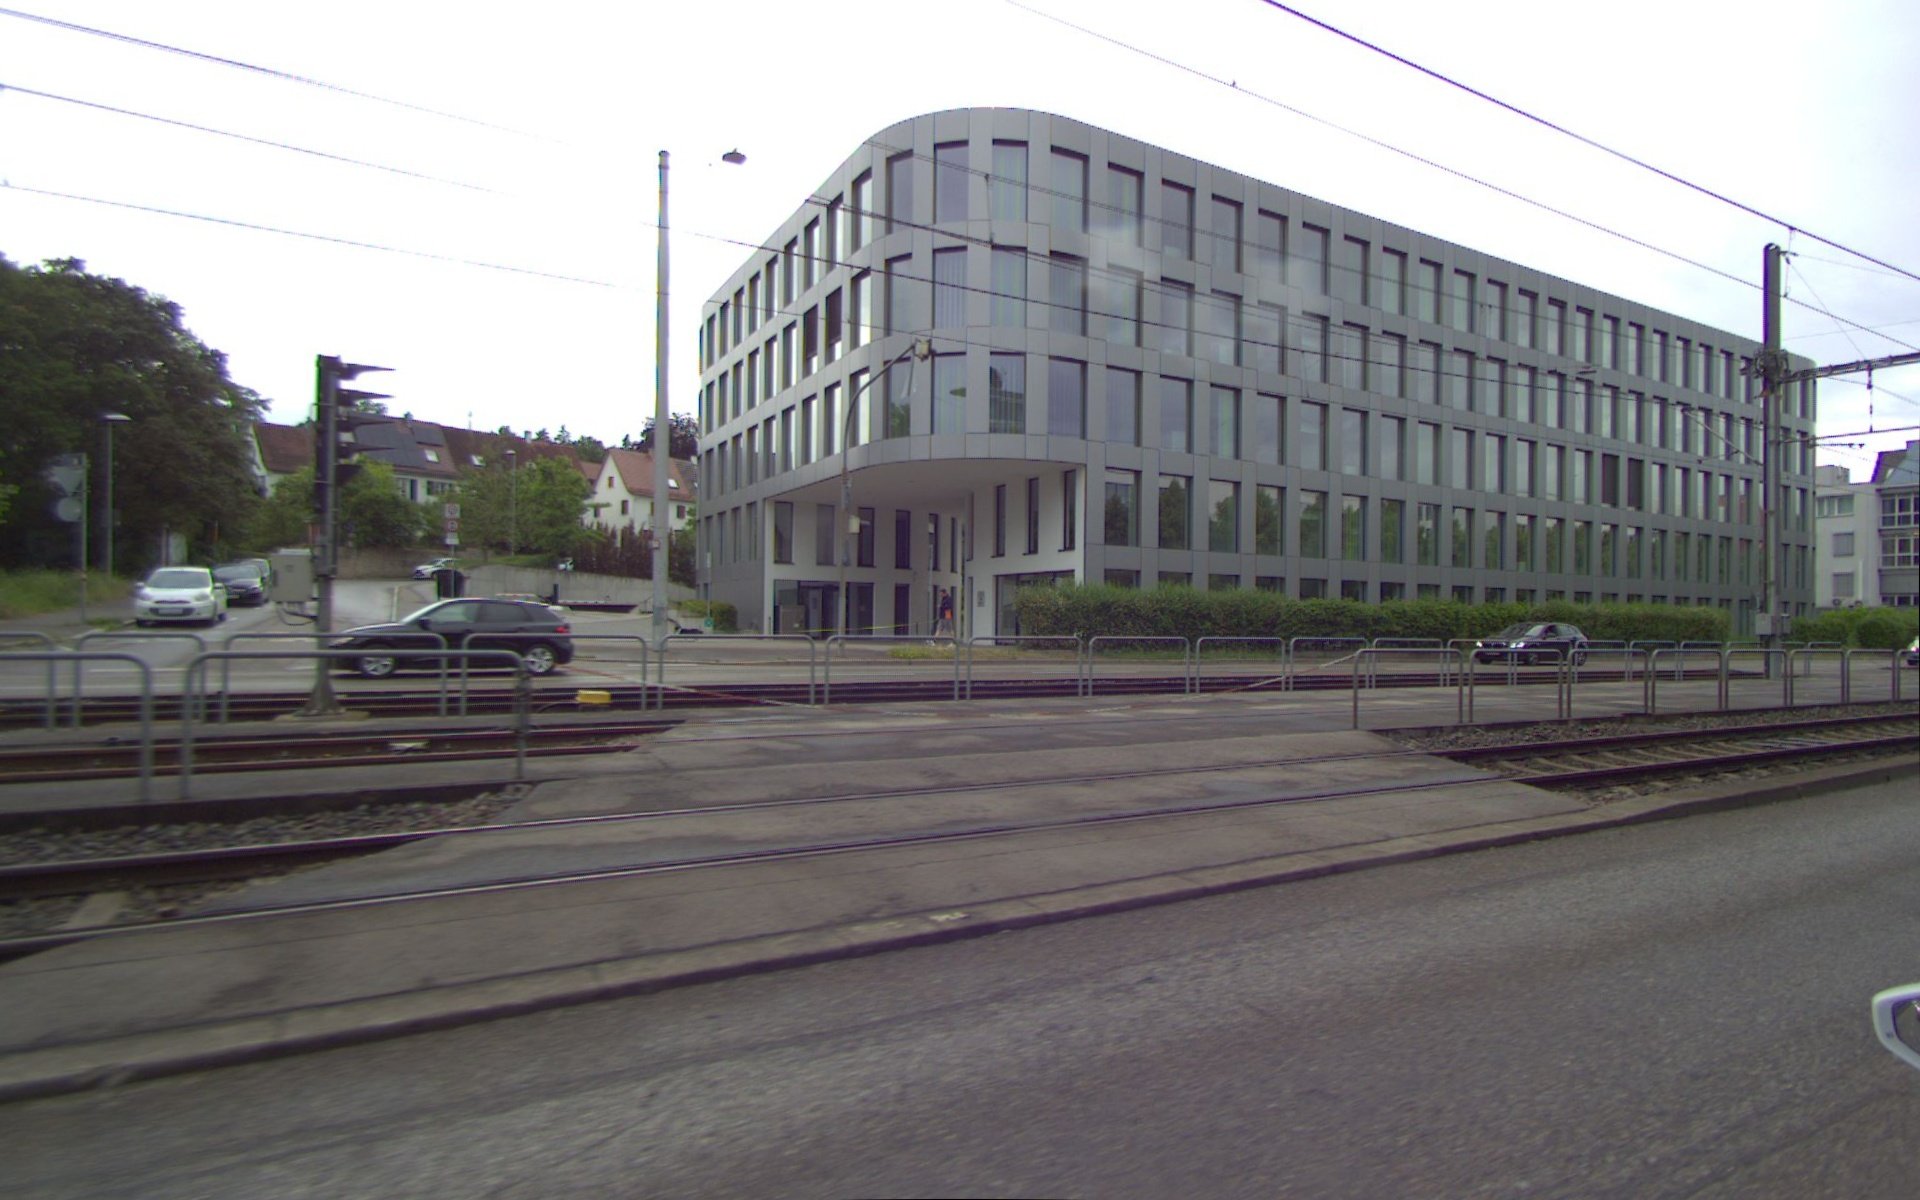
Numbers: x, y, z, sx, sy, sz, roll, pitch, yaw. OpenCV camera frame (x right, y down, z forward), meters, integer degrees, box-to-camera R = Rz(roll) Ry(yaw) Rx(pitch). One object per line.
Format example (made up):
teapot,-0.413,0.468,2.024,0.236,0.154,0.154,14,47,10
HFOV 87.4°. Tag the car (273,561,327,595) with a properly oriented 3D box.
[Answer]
car,-35.907,-1.201,54.735,1.920,1.683,4.127,2,2,-26

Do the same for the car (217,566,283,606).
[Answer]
car,-28.836,-0.579,40.887,1.852,1.429,4.052,2,2,-31

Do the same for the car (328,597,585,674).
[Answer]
car,-8.991,0.638,18.107,3.941,1.260,1.748,2,-1,-30

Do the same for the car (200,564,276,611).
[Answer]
car,-25.822,-0.481,36.033,1.852,1.472,4.052,2,2,-31

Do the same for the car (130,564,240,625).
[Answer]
car,-21.061,-0.183,27.450,1.904,1.472,3.898,2,2,-31

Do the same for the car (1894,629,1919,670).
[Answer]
car,41.834,2.124,42.570,4.824,1.666,1.894,2,-1,-29

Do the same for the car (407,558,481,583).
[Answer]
car,-34.698,-1.966,67.607,1.910,1.510,4.020,3,2,29

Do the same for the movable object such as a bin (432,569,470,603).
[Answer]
movable object such as a bin,-22.224,-0.604,43.861,1.261,1.414,1.258,1,2,-37

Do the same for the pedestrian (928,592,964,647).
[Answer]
pedestrian,-0.438,0.608,31.255,0.835,1.669,0.721,2,0,-29

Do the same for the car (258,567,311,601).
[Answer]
car,-33.331,-0.808,49.636,1.924,1.494,4.233,2,2,-31

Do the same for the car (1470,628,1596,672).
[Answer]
car,19.226,1.664,33.675,4.209,1.365,1.789,2,-1,-30

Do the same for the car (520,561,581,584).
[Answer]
car,-30.325,-2.037,74.496,1.862,1.512,3.872,2,0,27
